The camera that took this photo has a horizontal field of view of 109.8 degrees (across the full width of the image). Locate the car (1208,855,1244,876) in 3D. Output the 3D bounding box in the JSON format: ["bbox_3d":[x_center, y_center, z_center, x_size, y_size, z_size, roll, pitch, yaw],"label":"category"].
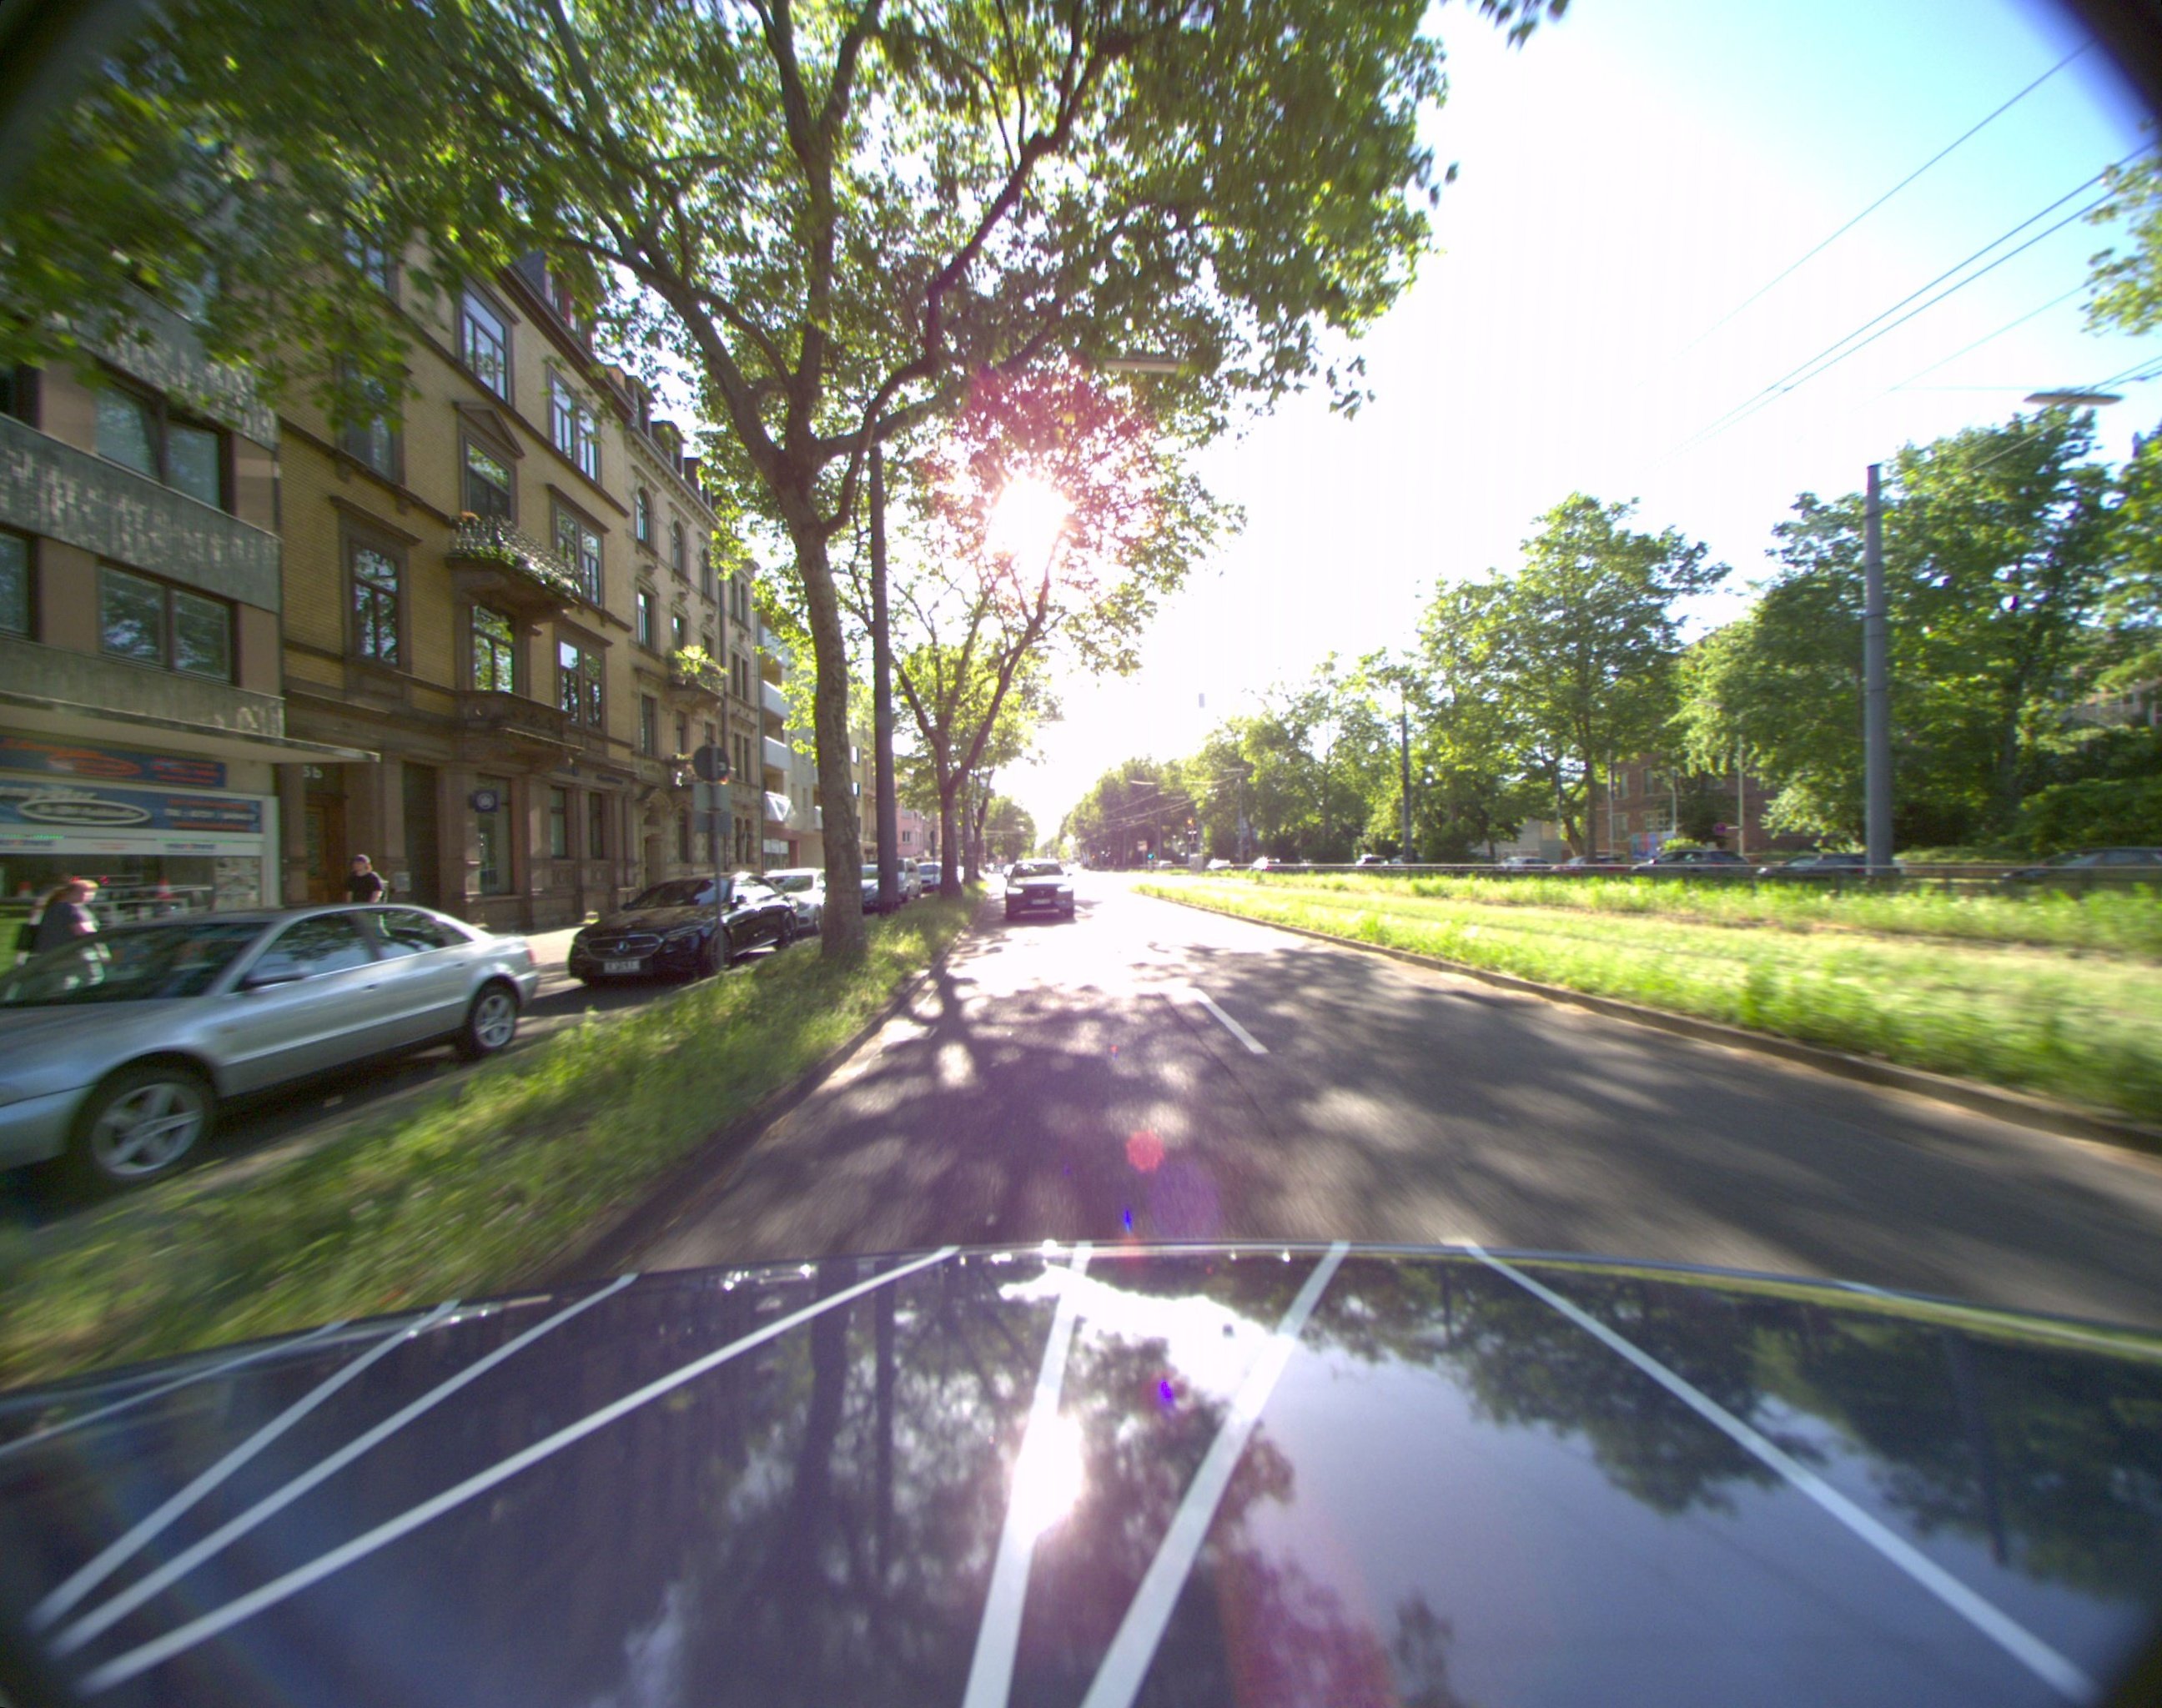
[{"bbox_3d":[11.619,0.950,61.118,1.799,1.543,4.046,-3,-1,-4],"label":"car"}]

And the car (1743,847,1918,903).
[{"bbox_3d":[25.719,0.704,26.286,1.826,1.673,3.998,-3,-1,-6],"label":"car"}]

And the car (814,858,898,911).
[{"bbox_3d":[-7.424,0.952,25.462,1.709,1.493,4.356,-3,0,-4],"label":"car"}]

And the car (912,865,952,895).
[{"bbox_3d":[-8.390,1.438,43.005,1.566,1.476,3.786,-3,-1,-2],"label":"car"}]

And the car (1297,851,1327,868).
[{"bbox_3d":[22.041,0.513,72.709,1.596,1.462,3.821,-4,-1,-1],"label":"car"}]

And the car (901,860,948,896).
[{"bbox_3d":[-7.971,1.183,39.065,1.630,1.658,4.141,-3,-1,-2],"label":"car"}]

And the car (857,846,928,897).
[{"bbox_3d":[-7.611,0.688,31.129,1.870,1.805,4.798,-3,-1,-3],"label":"car"}]

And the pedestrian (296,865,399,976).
[{"bbox_3d":[-12.697,1.120,13.176,1.002,1.829,0.715,-2,1,-2],"label":"pedestrian"}]

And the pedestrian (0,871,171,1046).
[{"bbox_3d":[-10.863,1.094,8.239,1.002,1.750,0.715,-3,0,-4],"label":"pedestrian"}]

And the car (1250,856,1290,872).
[{"bbox_3d":[14.534,0.760,58.656,1.694,1.128,4.705,-3,-1,-3],"label":"car"}]

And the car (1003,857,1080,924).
[{"bbox_3d":[-1.234,1.007,22.391,1.969,1.663,3.999,-3,-1,-5],"label":"car"}]

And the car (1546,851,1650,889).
[{"bbox_3d":[25.041,0.776,36.967,2.000,1.612,3.998,-3,-1,-7],"label":"car"}]

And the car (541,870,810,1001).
[{"bbox_3d":[-6.079,1.094,12.220,1.811,1.481,4.918,-3,0,-3],"label":"car"}]

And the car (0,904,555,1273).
[{"bbox_3d":[-5.763,1.205,4.984,1.705,1.415,4.515,-3,-1,-5],"label":"car"}]

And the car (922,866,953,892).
[{"bbox_3d":[-9.171,1.583,48.844,1.631,1.468,3.696,-3,-1,-6],"label":"car"}]

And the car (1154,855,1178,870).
[{"bbox_3d":[9.488,0.922,84.915,1.850,1.521,3.873,-3,-1,-6],"label":"car"}]

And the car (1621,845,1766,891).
[{"bbox_3d":[25.379,0.573,31.729,2.000,1.673,4.512,-3,-1,-7],"label":"car"}]

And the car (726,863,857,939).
[{"bbox_3d":[-6.790,1.028,18.385,1.682,1.458,4.667,-3,0,-5],"label":"car"}]
